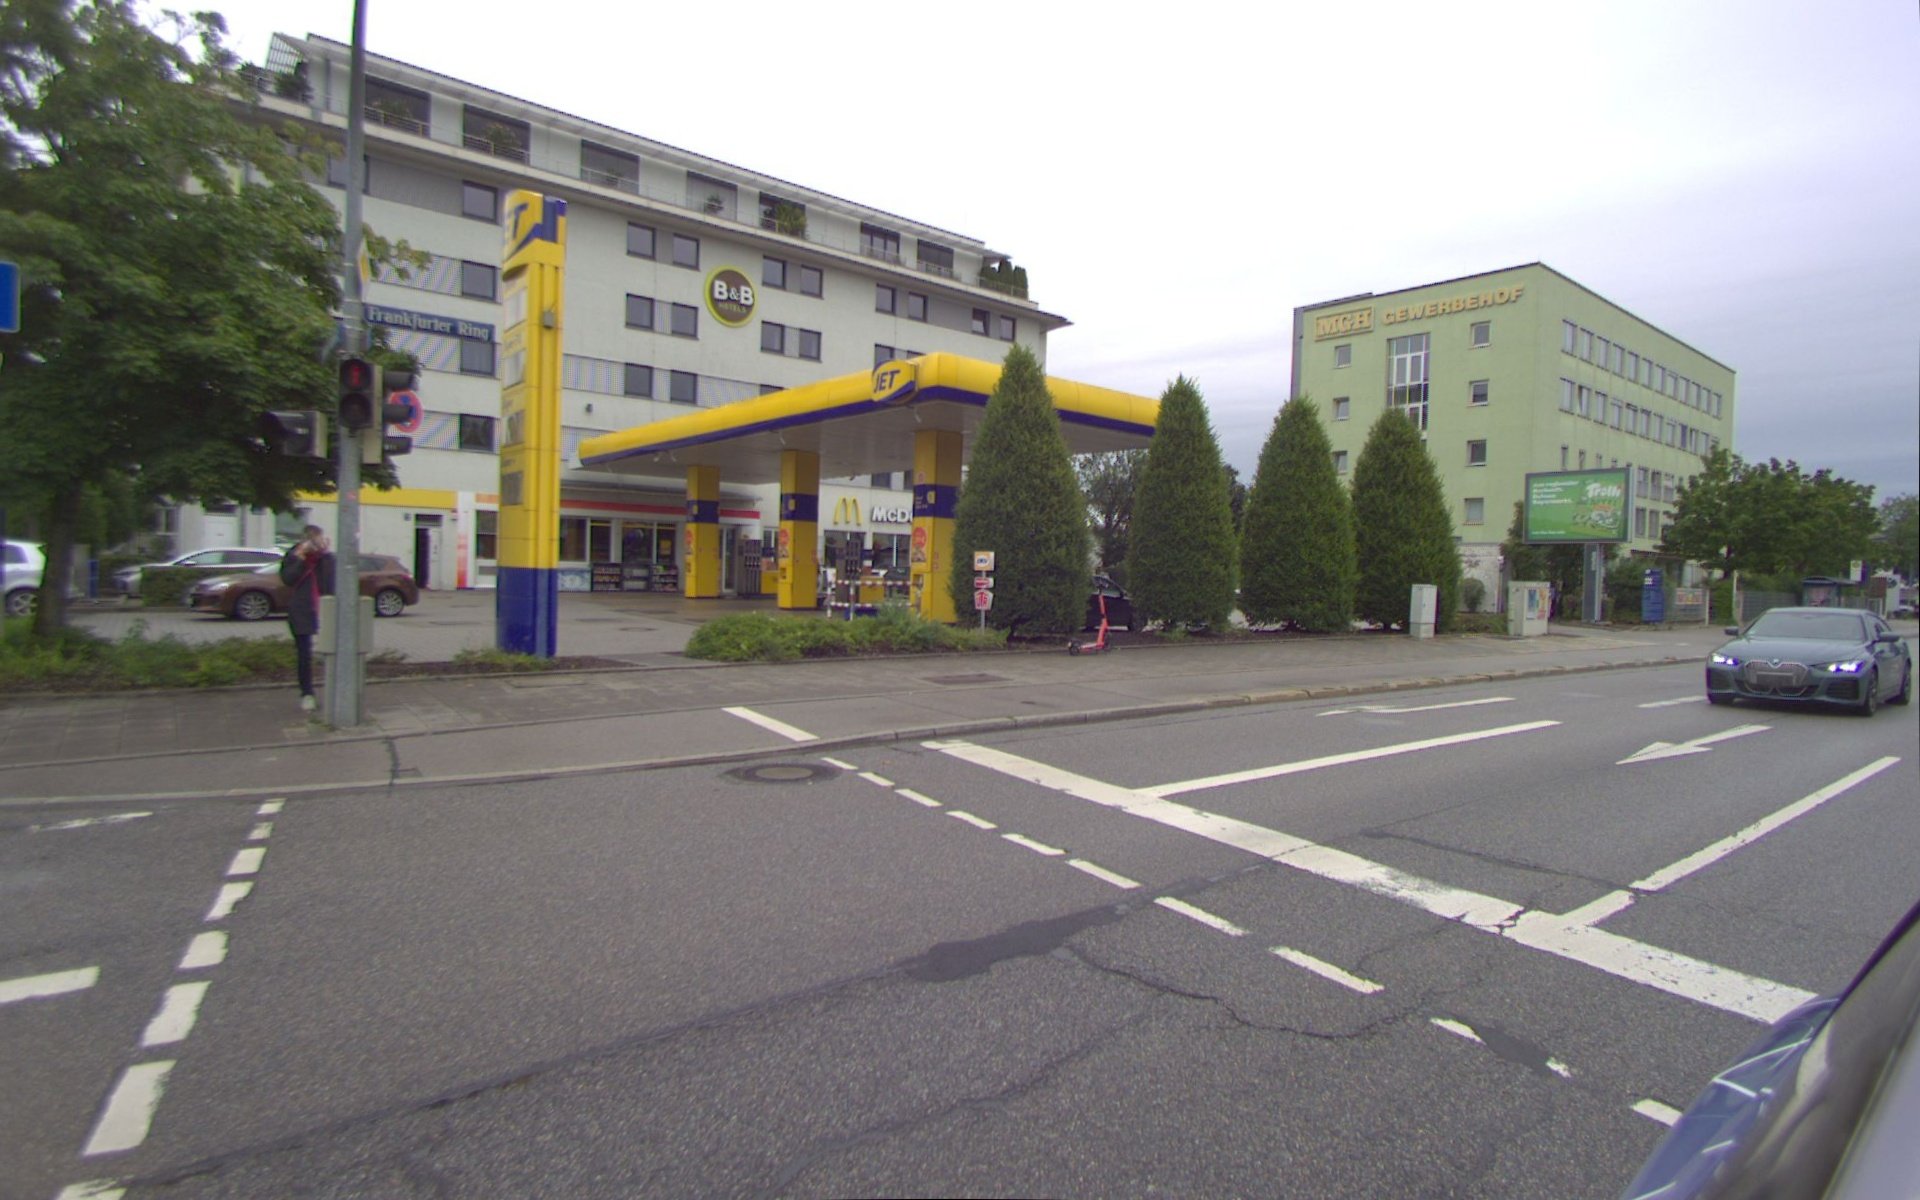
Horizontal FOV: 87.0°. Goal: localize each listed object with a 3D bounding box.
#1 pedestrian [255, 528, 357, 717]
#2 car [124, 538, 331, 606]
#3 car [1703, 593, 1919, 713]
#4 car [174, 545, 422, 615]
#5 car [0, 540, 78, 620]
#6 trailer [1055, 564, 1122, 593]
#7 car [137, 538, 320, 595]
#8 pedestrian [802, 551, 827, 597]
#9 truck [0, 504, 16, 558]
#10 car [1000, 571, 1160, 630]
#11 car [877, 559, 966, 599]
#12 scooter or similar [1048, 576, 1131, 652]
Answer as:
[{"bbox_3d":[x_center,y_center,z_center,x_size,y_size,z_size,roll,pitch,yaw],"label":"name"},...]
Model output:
[{"bbox_3d":[-6.061,0.176,9.363,0.675,1.634,0.804,1,4,-40],"label":"pedestrian"},{"bbox_3d":[-17.405,-0.630,24.179,3.905,1.505,1.627,0,1,-38],"label":"car"},{"bbox_3d":[12.944,0.682,15.147,4.359,1.526,1.916,0,1,-39],"label":"car"},{"bbox_3d":[-14.466,-0.413,22.326,1.696,1.401,4.300,1,1,40],"label":"car"},{"bbox_3d":[-19.284,-0.388,19.132,3.909,1.505,1.626,0,1,-42],"label":"car"},{"bbox_3d":[7.539,-1.279,59.706,1.606,1.671,3.804,0,1,-40],"label":"trailer"},{"bbox_3d":[-20.935,-0.923,29.031,4.119,1.496,1.906,0,1,-40],"label":"car"},{"bbox_3d":[-5.535,-0.983,38.556,0.633,1.750,0.707,1,0,-43],"label":"pedestrian"},{"bbox_3d":[-70.505,-4.987,72.467,2.825,3.879,11.937,1,2,-36],"label":"truck"},{"bbox_3d":[3.025,-0.003,25.093,3.930,1.349,1.798,0,1,-41],"label":"car"},{"bbox_3d":[-1.690,-0.941,43.479,1.677,1.607,3.995,0,2,-41],"label":"car"},{"bbox_3d":[2.242,0.232,17.402,1.516,1.257,0.357,0,4,-35],"label":"scooter or similar"}]
